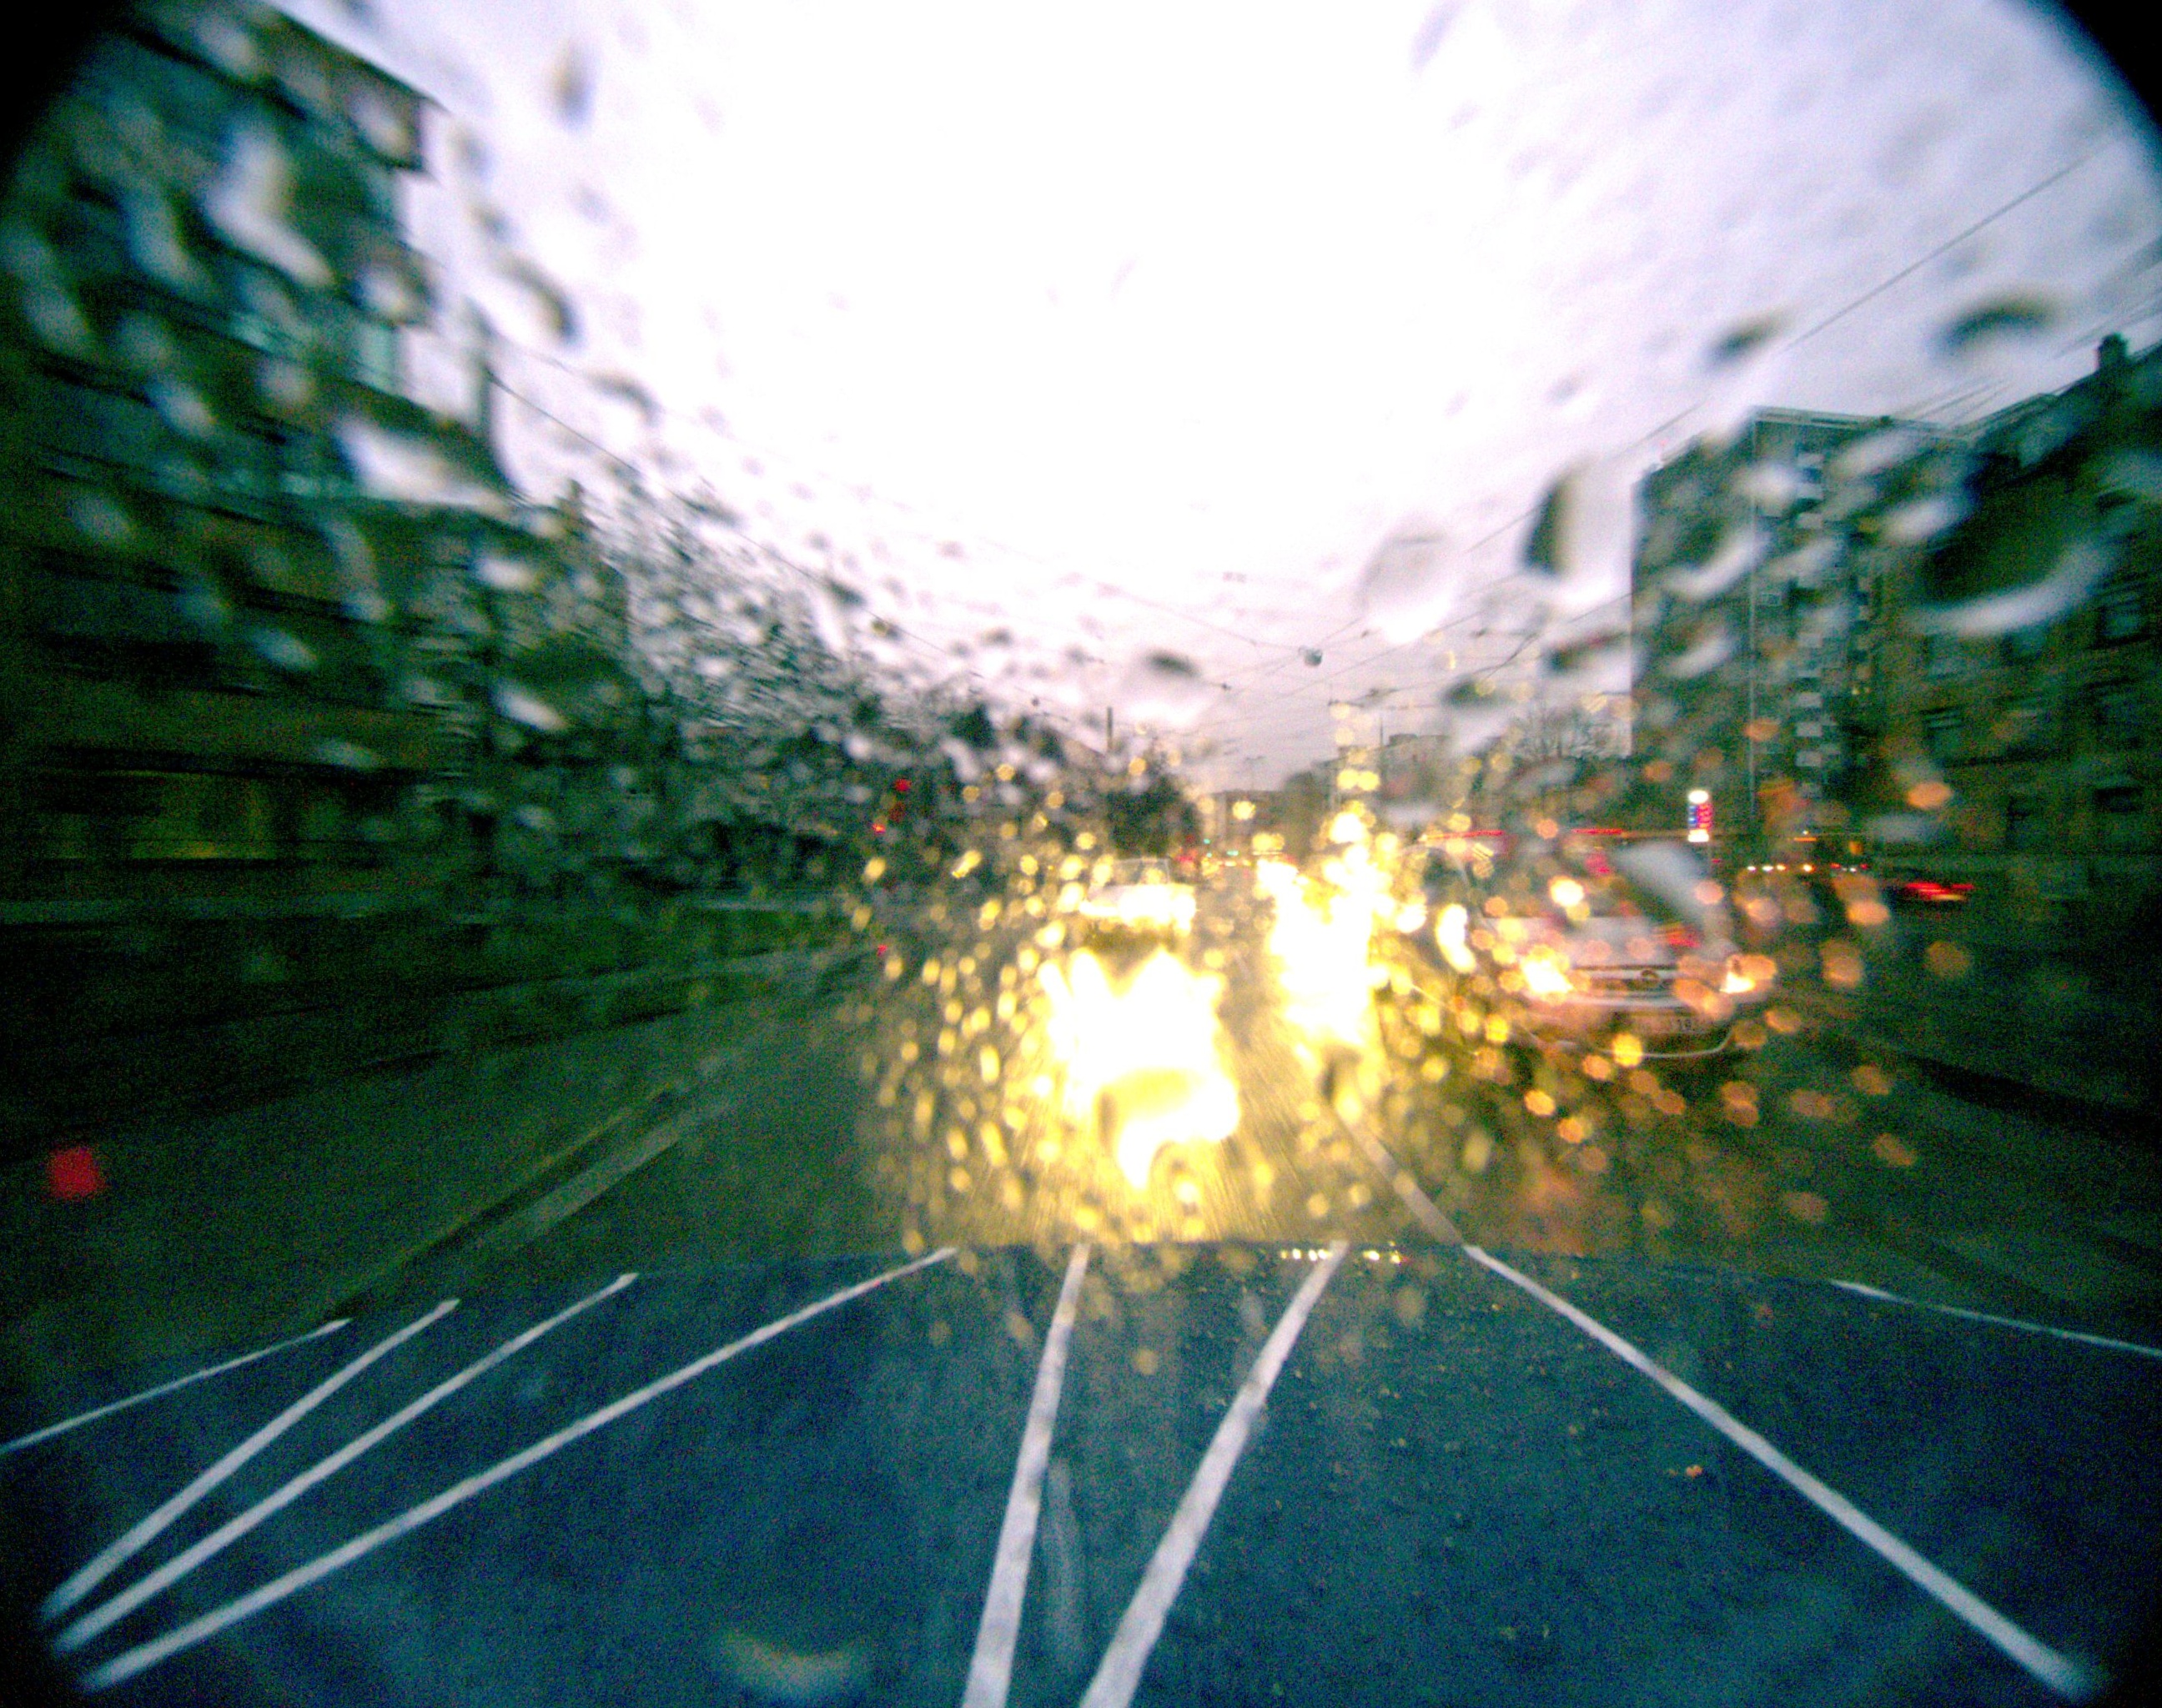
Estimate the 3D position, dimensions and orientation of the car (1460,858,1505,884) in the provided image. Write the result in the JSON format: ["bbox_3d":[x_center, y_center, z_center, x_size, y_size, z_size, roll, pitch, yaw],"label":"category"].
[{"bbox_3d":[24.669,1.020,46.772,1.490,1.478,3.155,0,0,9],"label":"car"}]

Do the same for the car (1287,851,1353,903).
[{"bbox_3d":[7.822,0.686,24.640,1.750,1.535,4.006,1,0,21],"label":"car"}]

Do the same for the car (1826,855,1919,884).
[{"bbox_3d":[42.236,0.797,40.551,4.231,1.516,1.683,0,0,-16],"label":"car"}]

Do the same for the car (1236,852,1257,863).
[{"bbox_3d":[27.308,0.566,125.548,1.968,1.772,4.531,0,0,-6],"label":"car"}]

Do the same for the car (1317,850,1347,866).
[{"bbox_3d":[32.720,0.543,99.254,1.999,1.934,4.852,2,0,-5],"label":"car"}]

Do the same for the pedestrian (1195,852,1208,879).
[{"bbox_3d":[8.349,0.788,52.598,0.573,1.828,0.684,6,1,21],"label":"pedestrian"}]

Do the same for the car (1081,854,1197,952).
[{"bbox_3d":[1.246,0.831,14.605,1.648,1.575,3.808,-1,1,13],"label":"car"}]

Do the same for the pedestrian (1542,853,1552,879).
[{"bbox_3d":[32.293,0.810,52.665,0.467,1.761,0.629,0,1,16],"label":"pedestrian"}]

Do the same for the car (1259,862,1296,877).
[{"bbox_3d":[19.128,1.501,74.032,1.968,1.378,4.531,0,0,-6],"label":"car"}]

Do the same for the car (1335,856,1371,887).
[{"bbox_3d":[16.058,1.005,45.021,1.817,1.732,4.192,1,0,17],"label":"car"}]

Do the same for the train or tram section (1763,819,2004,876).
[{"bbox_3d":[51.439,-0.481,48.593,16.317,3.170,3.165,-1,1,-15],"label":"train or tram section"}]

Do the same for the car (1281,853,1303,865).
[{"bbox_3d":[28.806,0.684,103.942,1.650,1.478,4.143,0,0,-3],"label":"car"}]

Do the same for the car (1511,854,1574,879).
[{"bbox_3d":[26.933,0.713,44.486,1.683,1.384,3.615,0,0,5],"label":"car"}]

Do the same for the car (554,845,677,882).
[{"bbox_3d":[-21.822,0.443,35.768,4.513,1.660,1.998,0,0,-9],"label":"car"}]

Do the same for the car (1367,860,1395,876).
[{"bbox_3d":[29.000,1.328,73.494,1.683,1.449,4.065,0,0,8],"label":"car"}]

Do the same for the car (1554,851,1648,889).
[{"bbox_3d":[22.195,0.627,32.648,1.683,1.544,4.124,0,0,8],"label":"car"}]

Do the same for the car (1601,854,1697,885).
[{"bbox_3d":[25.828,0.659,34.754,1.683,1.346,4.391,0,0,9],"label":"car"}]

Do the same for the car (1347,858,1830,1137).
[{"bbox_3d":[3.597,0.823,6.393,1.649,1.539,4.111,-1,0,6],"label":"car"}]

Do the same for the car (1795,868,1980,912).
[{"bbox_3d":[24.427,1.049,23.222,1.604,1.127,3.789,0,0,-1],"label":"car"}]
